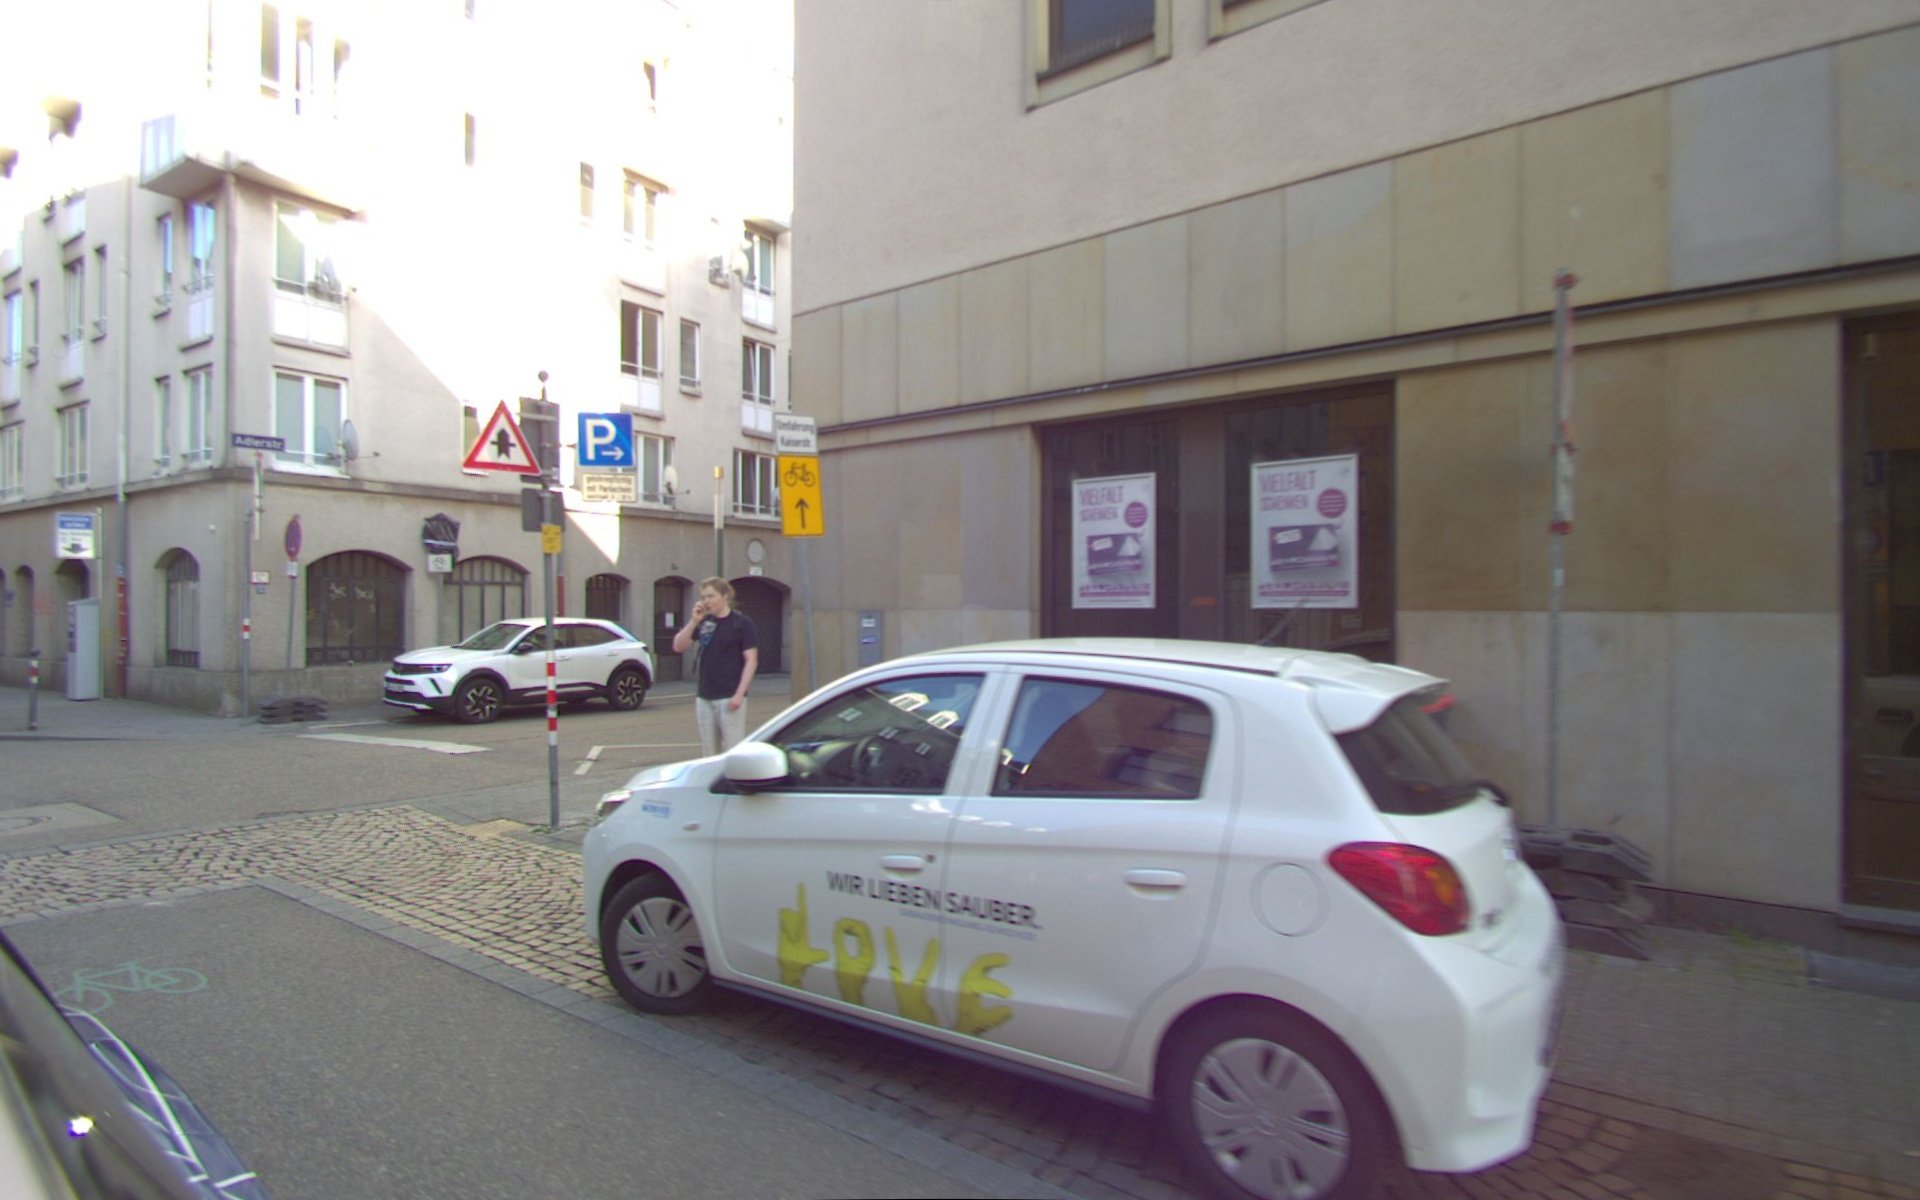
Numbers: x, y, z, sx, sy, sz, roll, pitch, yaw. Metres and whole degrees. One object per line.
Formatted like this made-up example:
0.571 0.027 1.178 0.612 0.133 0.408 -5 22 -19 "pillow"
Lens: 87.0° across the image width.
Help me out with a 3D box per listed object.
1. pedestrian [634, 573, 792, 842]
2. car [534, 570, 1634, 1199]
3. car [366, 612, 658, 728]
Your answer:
-1.845 0.752 7.593 0.715 1.868 0.851 0 -2 38 "pedestrian"
0.267 0.738 3.848 3.791 1.504 1.722 -1 -2 35 "car"
-7.027 1.001 16.182 1.741 1.605 3.918 0 0 38 "car"
